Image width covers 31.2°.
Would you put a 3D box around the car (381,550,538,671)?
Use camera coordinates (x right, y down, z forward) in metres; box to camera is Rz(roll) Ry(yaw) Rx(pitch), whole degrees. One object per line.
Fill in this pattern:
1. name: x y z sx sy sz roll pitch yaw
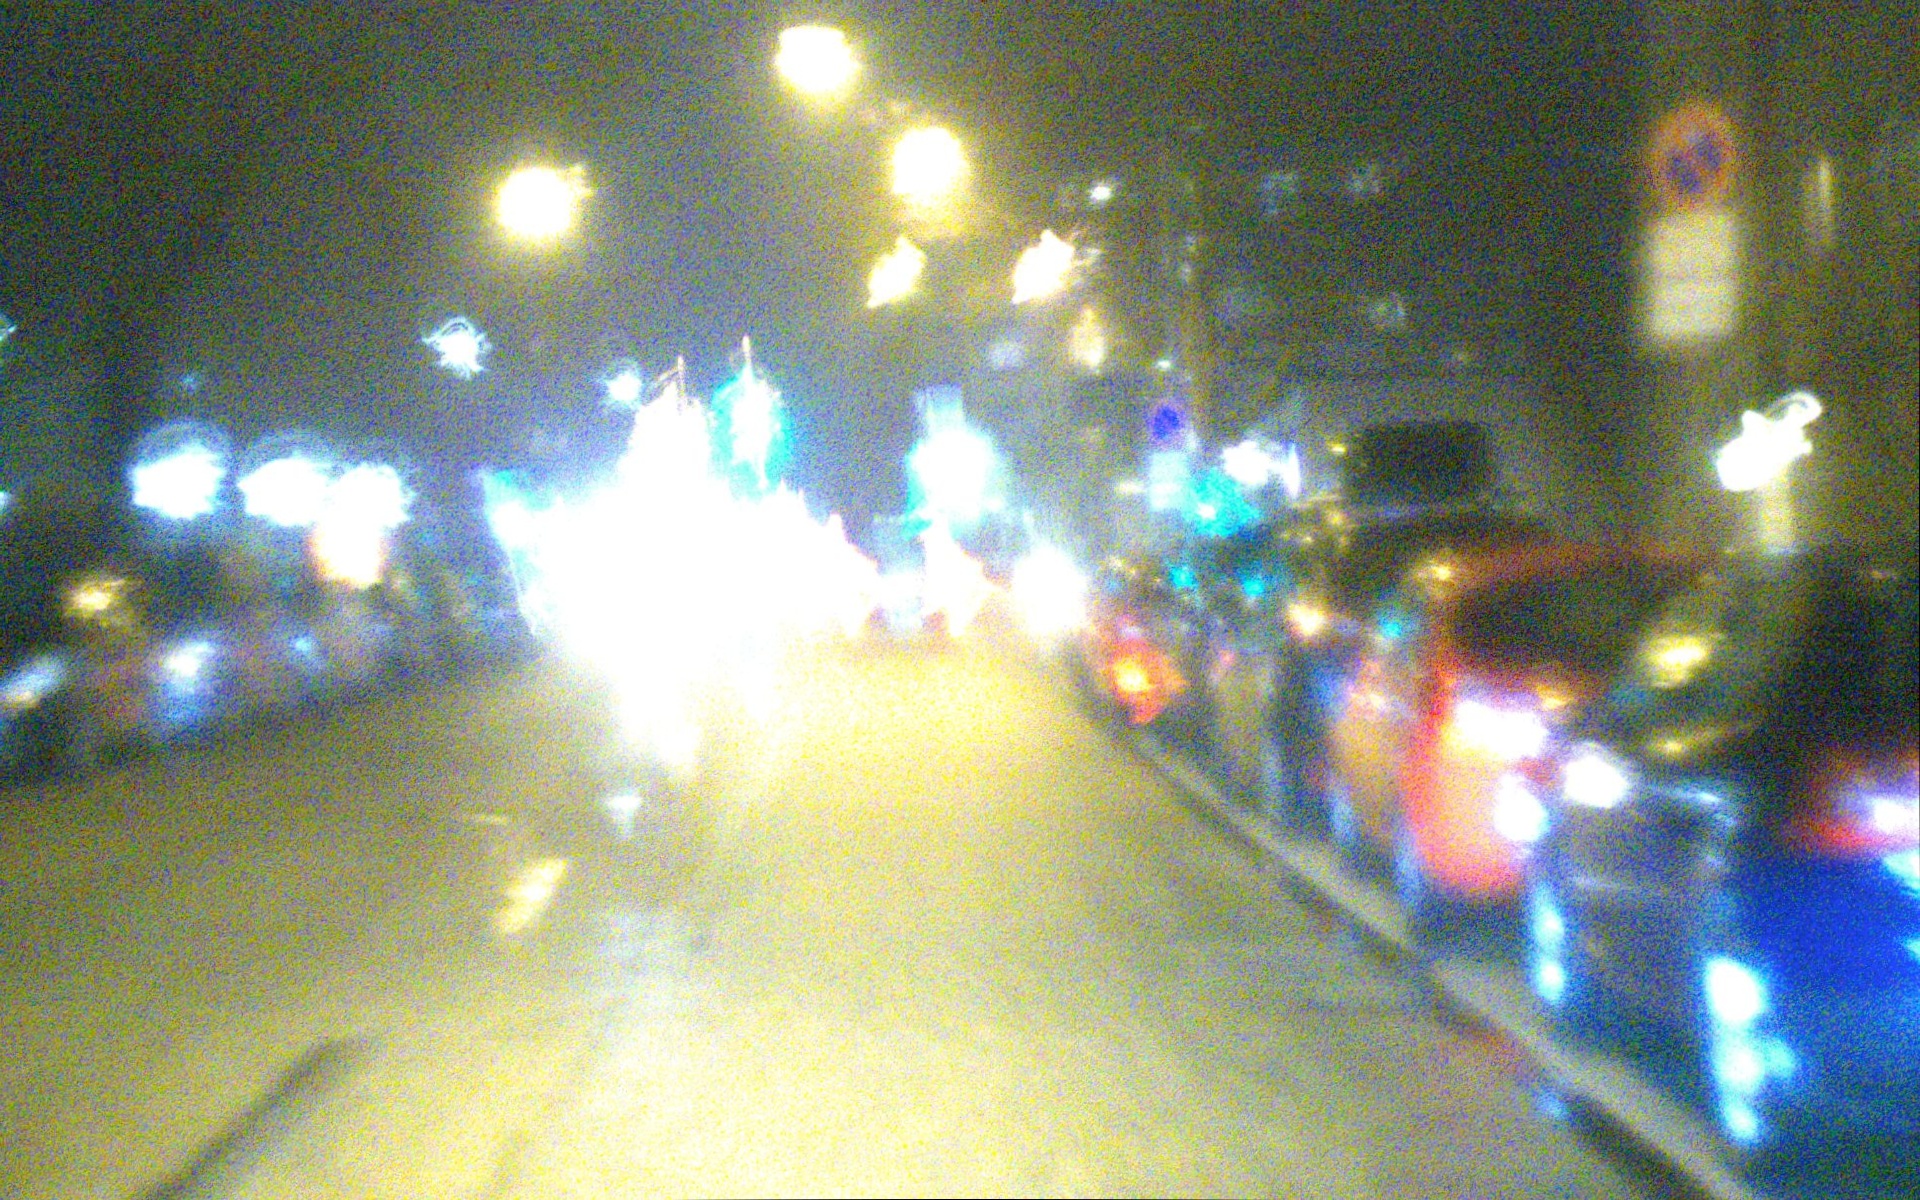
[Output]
1. car: -7.213 0.117 49.911 1.598 1.558 4.380 -4 1 -1

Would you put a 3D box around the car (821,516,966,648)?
1. car: -1.062 -0.306 54.105 2.168 1.965 4.302 -1 1 -1

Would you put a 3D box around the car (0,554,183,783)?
1. car: -6.614 0.450 23.912 1.598 1.426 4.005 -4 1 -3

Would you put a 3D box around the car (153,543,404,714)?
1. car: -6.683 0.228 34.124 1.598 1.481 4.275 -4 1 -1

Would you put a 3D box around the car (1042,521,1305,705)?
1. car: 1.784 0.062 30.079 1.822 1.417 4.489 -2 1 -2

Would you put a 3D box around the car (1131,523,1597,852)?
1. car: 2.090 0.379 19.211 1.799 1.525 5.052 -2 1 -2

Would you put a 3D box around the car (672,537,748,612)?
1. car: -7.331 -0.777 100.424 2.034 1.947 5.201 -3 2 -5

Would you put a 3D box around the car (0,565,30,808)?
1. car: -6.520 0.601 18.844 1.637 1.451 4.934 -4 1 -3

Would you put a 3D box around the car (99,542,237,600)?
1. car: -20.565 -0.761 89.408 1.715 1.427 3.915 -1 1 18

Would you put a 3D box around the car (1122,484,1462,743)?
1. car: 2.289 0.049 24.847 1.822 1.632 4.489 -2 1 -2

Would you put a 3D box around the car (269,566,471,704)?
1. car: -6.773 0.365 39.828 1.598 1.368 4.067 -4 1 -1

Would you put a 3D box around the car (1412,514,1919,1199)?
1. car: 2.451 0.558 9.317 1.754 1.542 4.978 -2 1 0

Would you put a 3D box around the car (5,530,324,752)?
1. car: -6.480 0.274 28.444 1.598 1.599 4.259 -4 1 -1

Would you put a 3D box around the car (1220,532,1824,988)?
1. car: 2.147 0.525 14.307 1.824 1.542 4.352 -2 1 1
